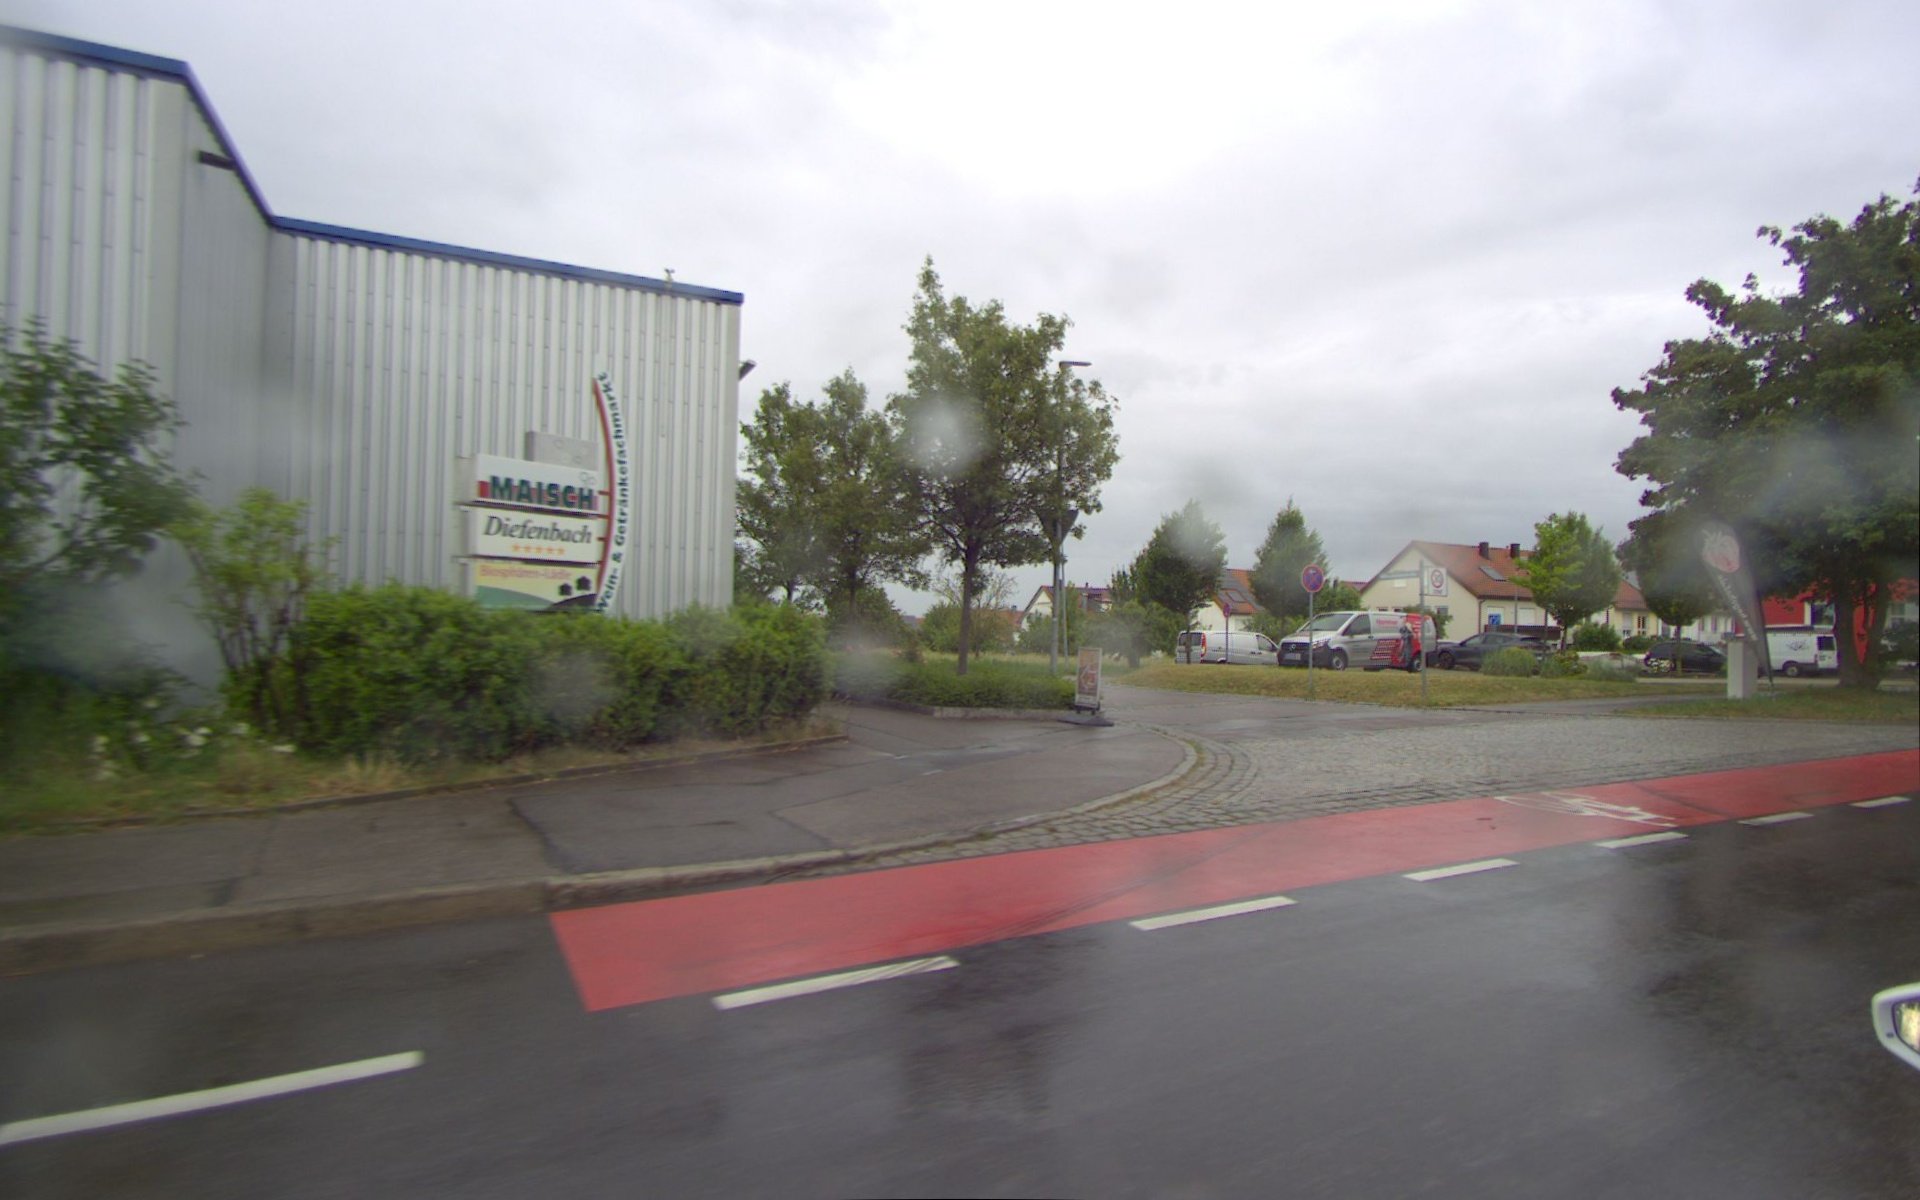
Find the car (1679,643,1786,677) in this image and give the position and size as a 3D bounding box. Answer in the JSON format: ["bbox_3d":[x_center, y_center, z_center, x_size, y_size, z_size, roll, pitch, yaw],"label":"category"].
[{"bbox_3d":[34.326,2.645,44.705,1.685,1.261,3.384,1,0,-30],"label":"car"}]

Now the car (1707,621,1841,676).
[{"bbox_3d":[38.422,2.227,47.549,2.154,2.341,4.466,1,0,-24],"label":"car"}]

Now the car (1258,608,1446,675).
[{"bbox_3d":[11.695,1.189,29.892,5.535,1.846,2.026,1,0,-26],"label":"car"}]

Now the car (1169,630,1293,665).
[{"bbox_3d":[10.686,1.844,39.518,4.598,1.246,1.973,1,0,-28],"label":"car"}]

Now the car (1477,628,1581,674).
[{"bbox_3d":[21.835,1.902,38.516,4.130,1.577,2.098,1,0,-38],"label":"car"}]
